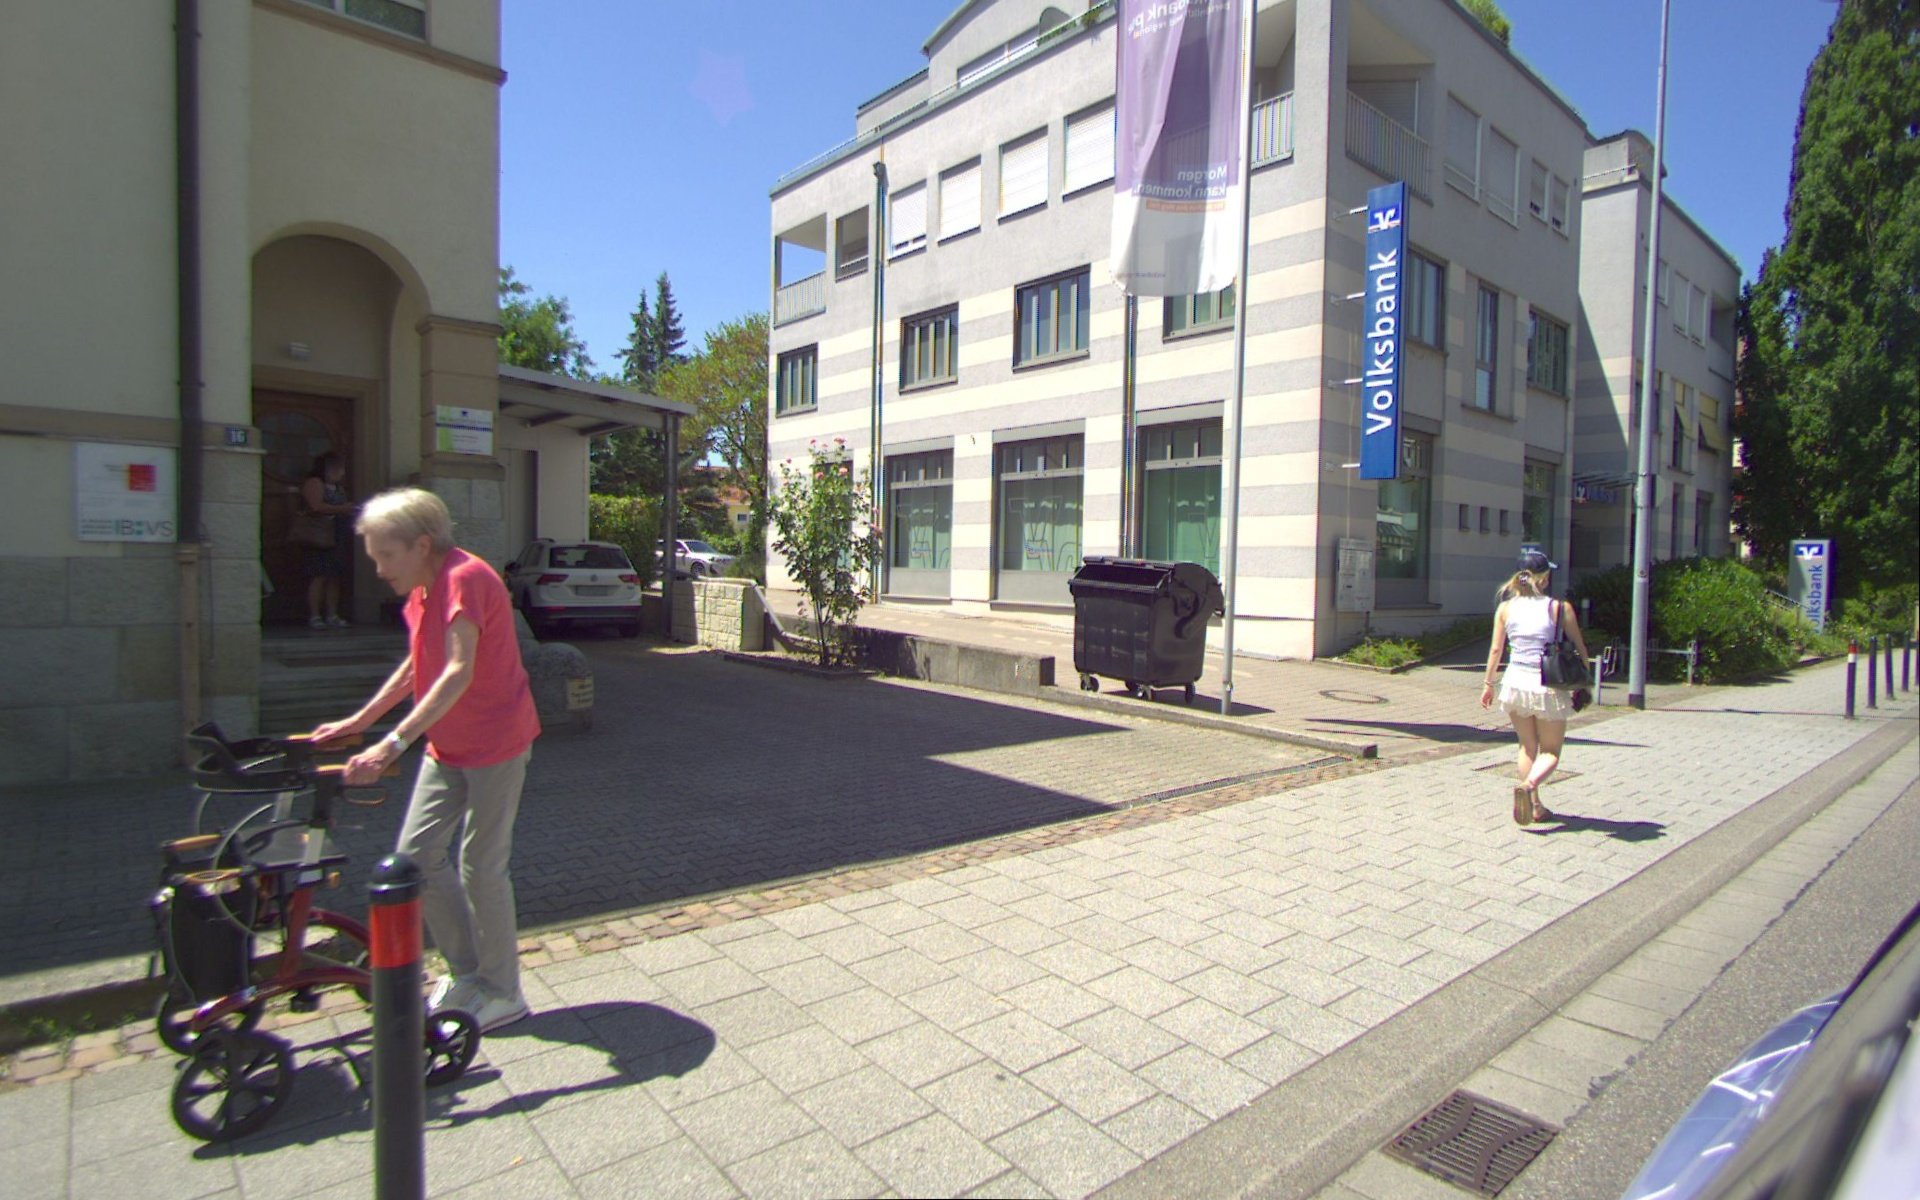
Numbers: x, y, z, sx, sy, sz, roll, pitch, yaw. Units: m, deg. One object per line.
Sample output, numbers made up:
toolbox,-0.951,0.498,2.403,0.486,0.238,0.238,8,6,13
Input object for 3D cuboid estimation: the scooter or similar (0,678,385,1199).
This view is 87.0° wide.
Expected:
scooter or similar,-1.930,0.740,2.522,0.741,0.975,0.664,0,3,-41

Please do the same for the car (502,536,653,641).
car,-6.838,-0.277,17.839,1.775,1.627,4.005,0,3,-31

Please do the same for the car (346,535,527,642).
car,-8.496,-0.228,16.284,1.723,1.510,3.739,0,2,-41

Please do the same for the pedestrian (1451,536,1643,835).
pedestrian,3.556,0.461,6.139,0.770,1.646,0.701,-1,5,-42

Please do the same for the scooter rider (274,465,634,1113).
scooter rider,-1.483,0.440,2.956,0.757,1.567,0.717,0,3,-43

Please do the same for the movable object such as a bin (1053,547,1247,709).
movable object such as a bin,1.970,0.238,10.562,1.356,1.476,1.372,0,5,-39

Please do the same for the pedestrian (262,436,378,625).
pedestrian,-5.914,-0.624,9.387,0.724,1.679,0.596,1,1,-9
